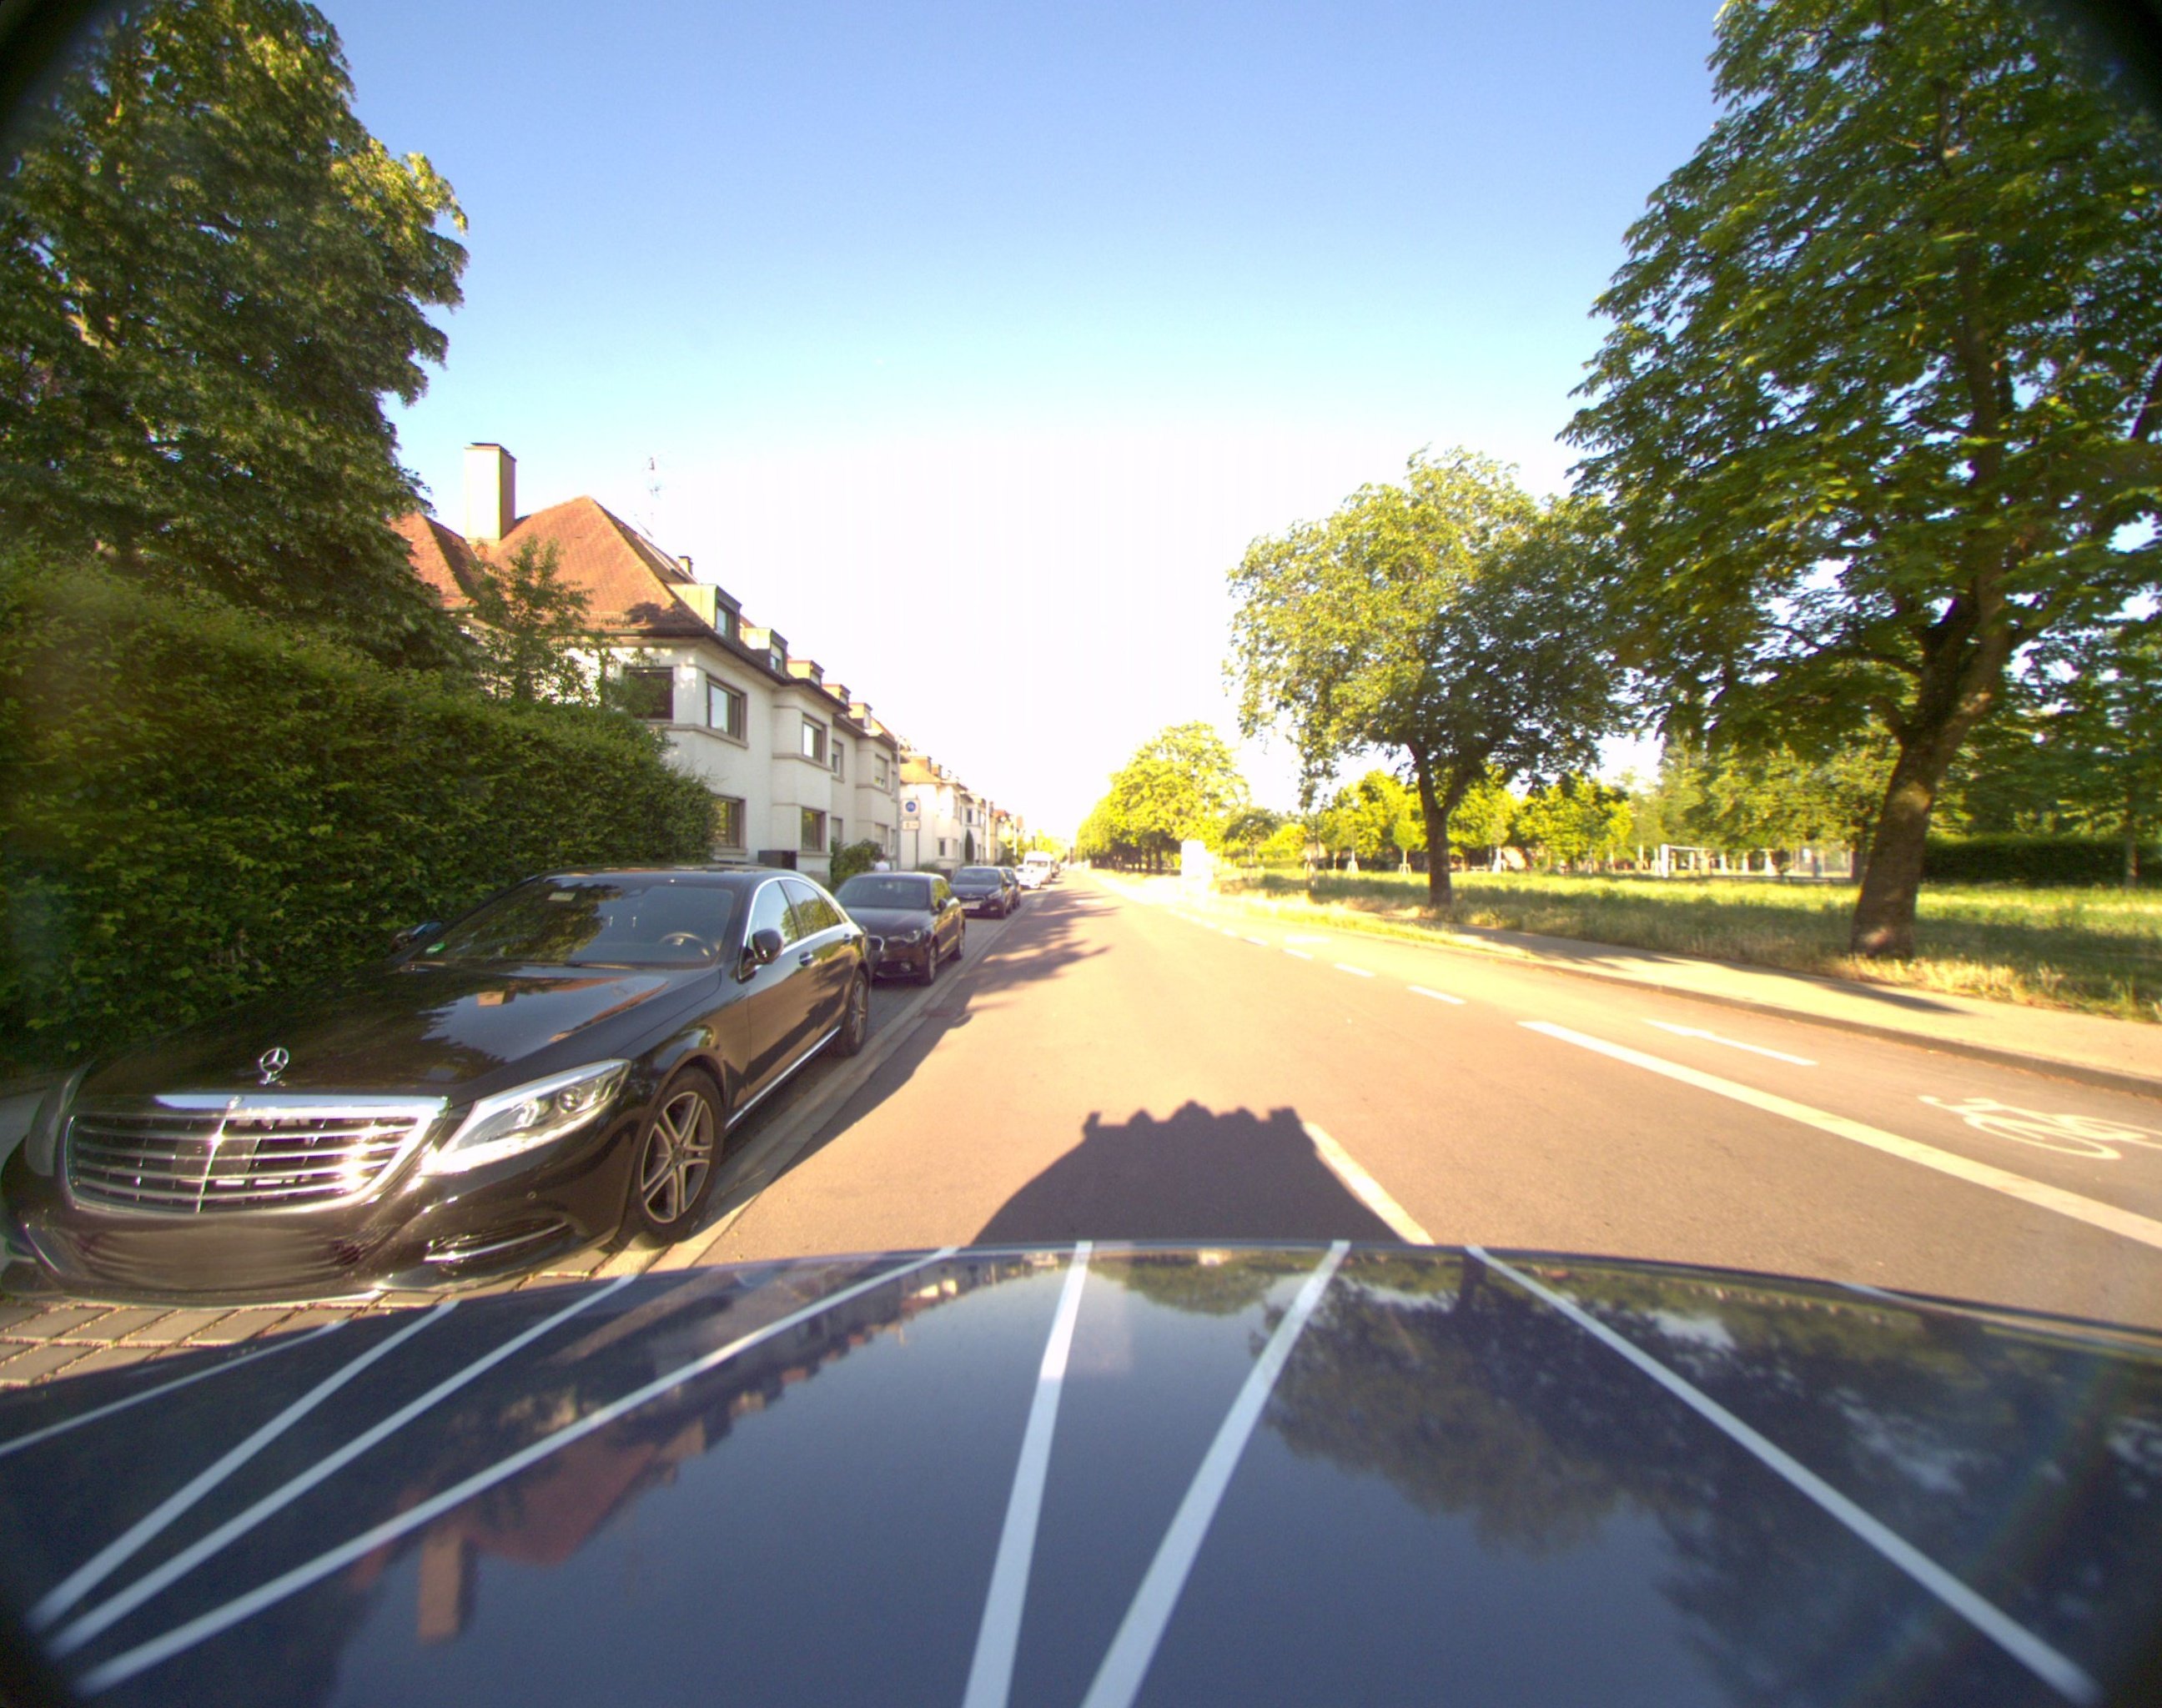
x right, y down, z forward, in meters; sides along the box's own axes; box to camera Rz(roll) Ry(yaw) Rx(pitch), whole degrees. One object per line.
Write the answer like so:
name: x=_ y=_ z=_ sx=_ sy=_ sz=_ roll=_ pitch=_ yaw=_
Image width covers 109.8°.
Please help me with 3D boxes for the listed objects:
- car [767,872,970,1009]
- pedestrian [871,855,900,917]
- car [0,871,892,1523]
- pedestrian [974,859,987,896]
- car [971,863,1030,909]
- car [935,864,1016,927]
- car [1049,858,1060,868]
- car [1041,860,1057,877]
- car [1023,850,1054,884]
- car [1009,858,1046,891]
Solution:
car: x=-2.746 y=1.048 z=10.789 sx=1.784 sy=1.469 sz=4.000 roll=-2 pitch=-1 yaw=-1
pedestrian: x=-6.001 y=0.962 z=23.313 sx=0.587 sy=1.835 sz=0.823 roll=-2 pitch=1 yaw=1
car: x=-2.563 y=0.887 z=4.292 sx=2.009 sy=1.489 sz=4.914 roll=1 pitch=0 yaw=-3
pedestrian: x=-4.972 y=1.145 z=37.741 sx=0.531 sy=1.787 sz=0.589 roll=-2 pitch=1 yaw=-2
car: x=-2.865 y=1.117 z=27.658 sx=1.680 sy=1.525 sz=3.472 roll=-2 pitch=-1 yaw=1
car: x=-2.935 y=1.120 z=21.981 sx=1.796 sy=1.586 sz=4.077 roll=-2 pitch=-1 yaw=-1
car: x=-4.117 y=1.374 z=117.247 sx=1.682 sy=1.543 sz=3.842 roll=1 pitch=0 yaw=-3
car: x=-3.701 y=1.697 z=88.939 sx=1.708 sy=1.848 sz=3.712 roll=-2 pitch=1 yaw=0
car: x=-3.286 y=0.938 z=59.772 sx=2.132 sy=2.461 sz=5.723 roll=-2 pitch=1 yaw=-1
car: x=-3.224 y=1.209 z=46.685 sx=1.999 sy=1.775 sz=3.999 roll=-2 pitch=1 yaw=-1
